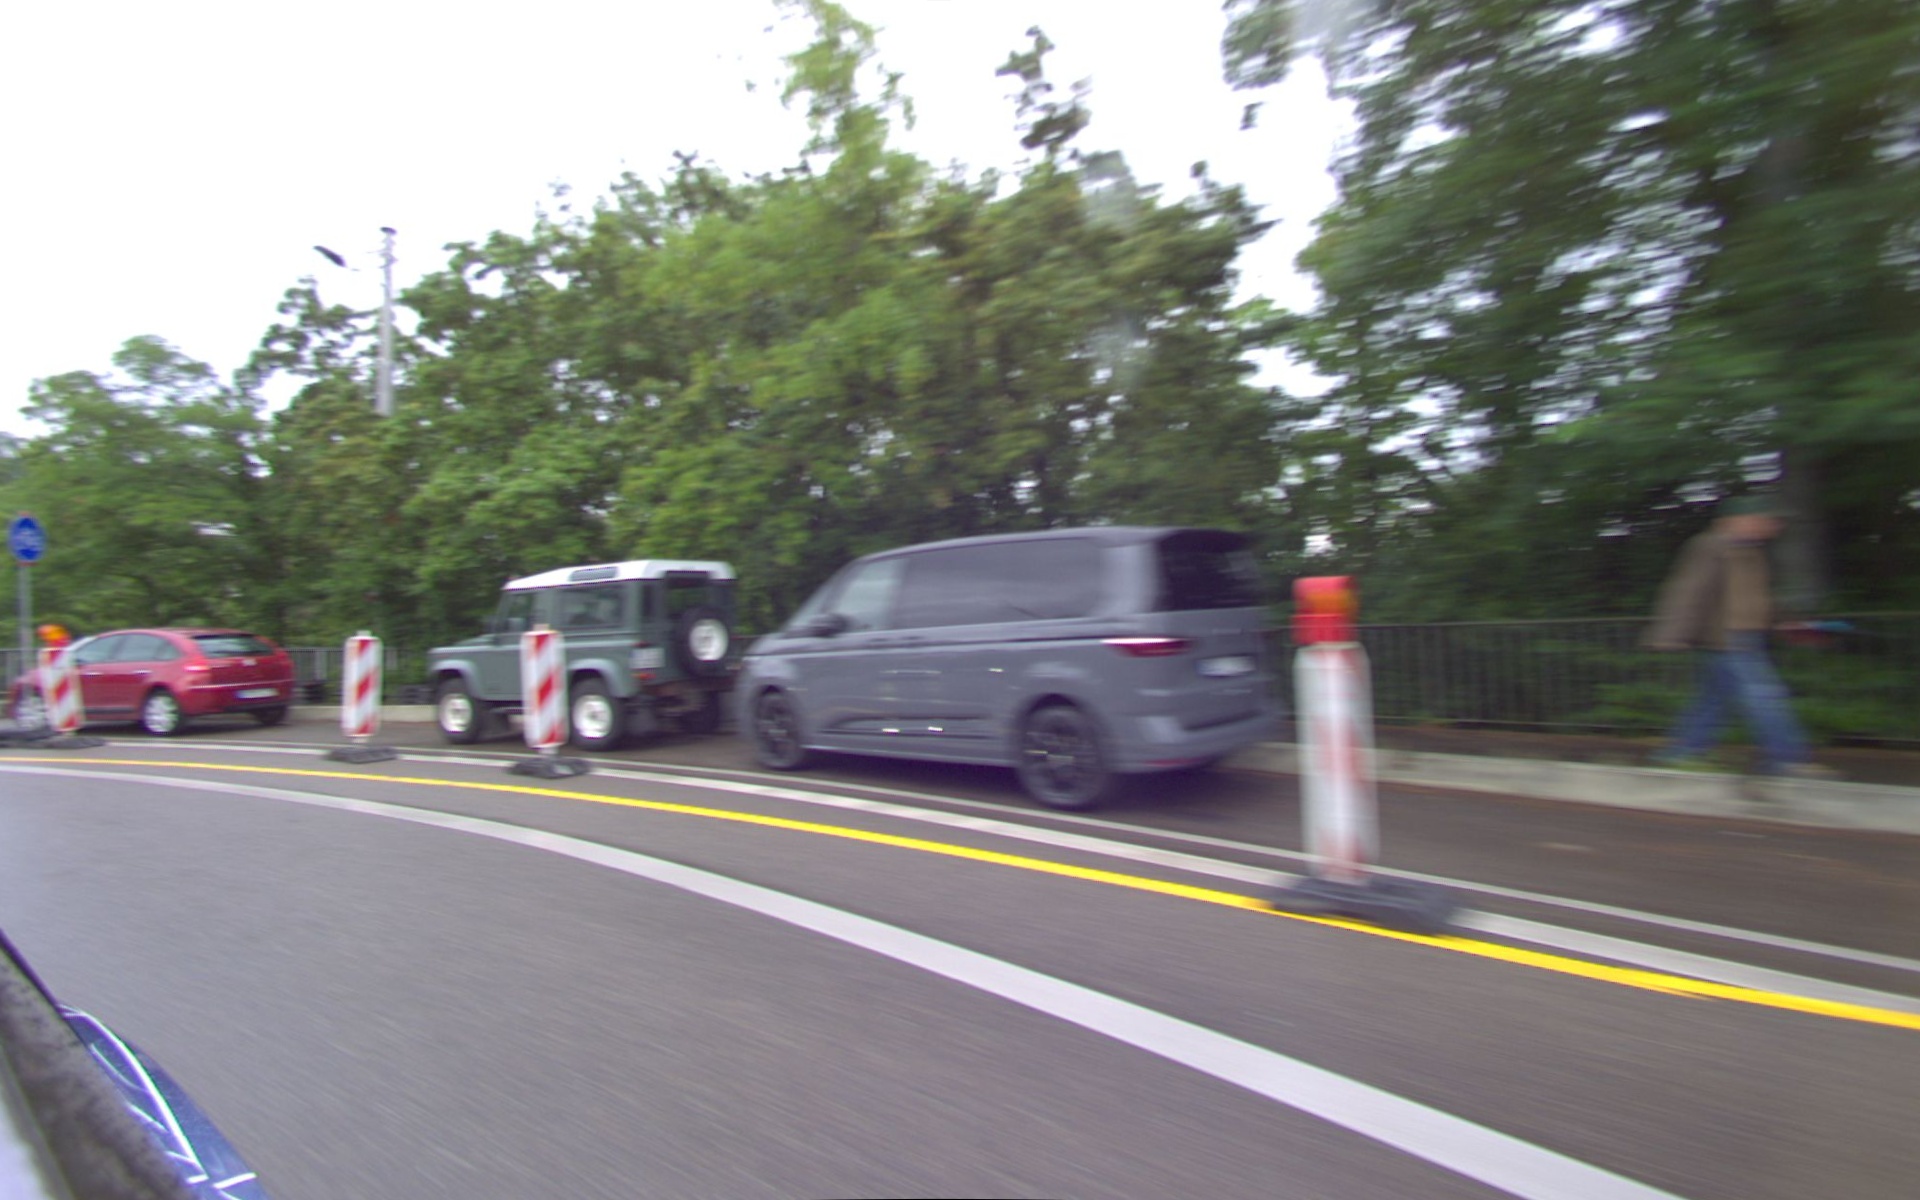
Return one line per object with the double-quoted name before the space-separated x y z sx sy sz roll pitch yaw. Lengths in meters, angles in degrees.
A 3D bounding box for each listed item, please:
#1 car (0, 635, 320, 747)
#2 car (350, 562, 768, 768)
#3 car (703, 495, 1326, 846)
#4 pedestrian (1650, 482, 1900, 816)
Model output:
"car" -11.947 1.301 14.911 4.284 1.451 1.956 -2 -2 17
"car" -4.770 0.733 11.898 4.788 2.029 1.855 -3 -1 27
"car" 0.145 0.449 8.273 4.949 2.029 1.972 -2 0 43
"pedestrian" 4.879 0.260 6.069 0.911 1.781 0.982 -1 0 -40
